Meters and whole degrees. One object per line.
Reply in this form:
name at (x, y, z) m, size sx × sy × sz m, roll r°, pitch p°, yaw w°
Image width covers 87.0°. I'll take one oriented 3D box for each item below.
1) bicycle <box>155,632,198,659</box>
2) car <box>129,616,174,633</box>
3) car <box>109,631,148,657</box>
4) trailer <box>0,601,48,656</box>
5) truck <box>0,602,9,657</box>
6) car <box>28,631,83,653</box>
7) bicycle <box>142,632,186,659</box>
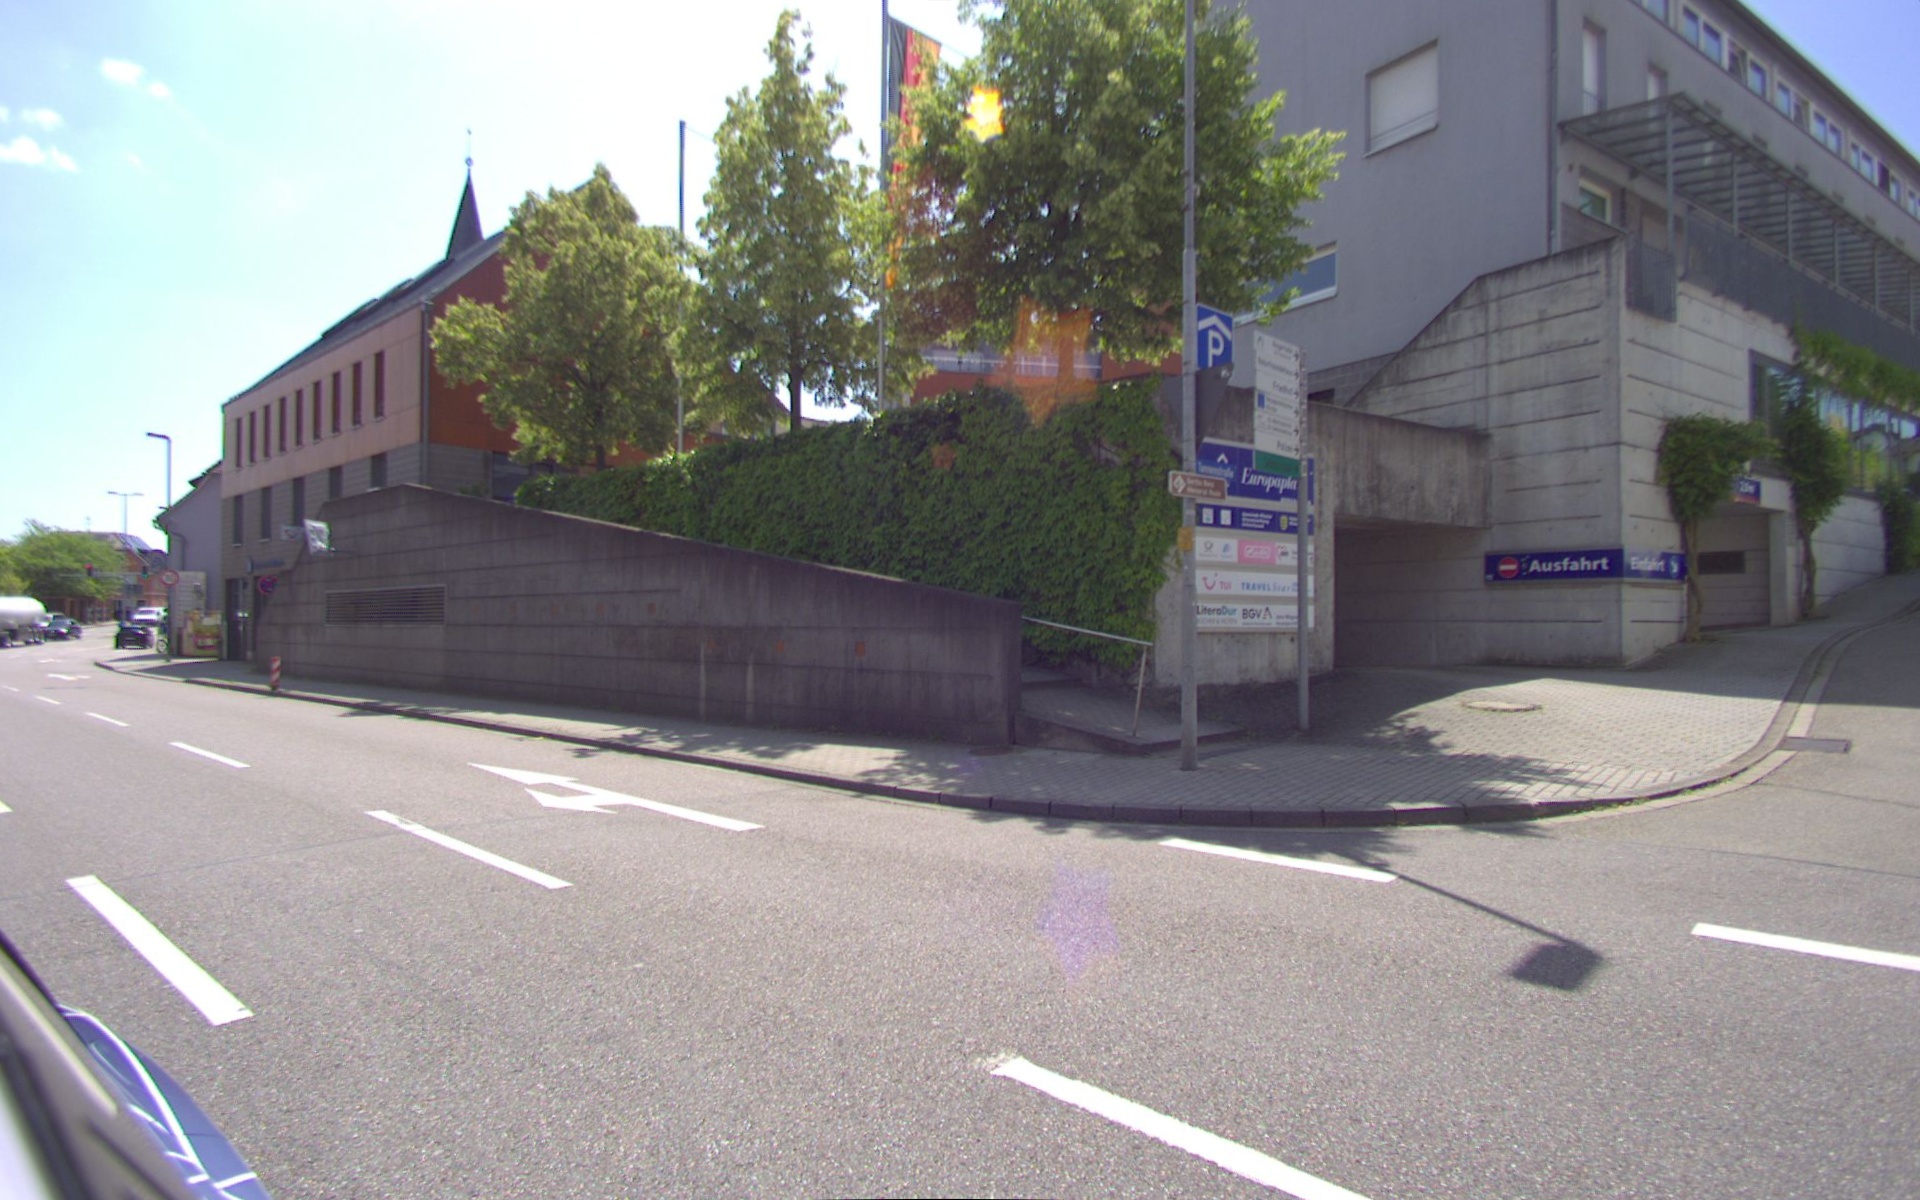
bicycle at (-39.378, 2.277, 50.886) m, size 0.571 × 1.258 × 1.828 m, roll -3°, pitch 0°, yaw 6°
car at (-82.055, 2.491, 102.771) m, size 1.979 × 1.643 × 4.591 m, roll 0°, pitch -2°, yaw -16°
car at (-56.384, 2.952, 68.691) m, size 1.647 × 1.670 × 4.028 m, roll 1°, pitch -2°, yaw -34°
trailer at (-66.848, 2.015, 70.415) m, size 2.791 × 3.597 × 10.998 m, roll 1°, pitch -2°, yaw -30°
truck at (-63.319, 1.876, 64.457) m, size 2.801 × 3.597 × 5.484 m, roll 1°, pitch -2°, yaw -31°
car at (-72.659, 3.348, 81.377) m, size 1.978 × 1.643 × 4.592 m, roll 1°, pitch -2°, yaw -25°
bicycle at (-40.022, 2.287, 50.888) m, size 0.571 × 1.258 × 1.828 m, roll -3°, pitch 0°, yaw 6°
